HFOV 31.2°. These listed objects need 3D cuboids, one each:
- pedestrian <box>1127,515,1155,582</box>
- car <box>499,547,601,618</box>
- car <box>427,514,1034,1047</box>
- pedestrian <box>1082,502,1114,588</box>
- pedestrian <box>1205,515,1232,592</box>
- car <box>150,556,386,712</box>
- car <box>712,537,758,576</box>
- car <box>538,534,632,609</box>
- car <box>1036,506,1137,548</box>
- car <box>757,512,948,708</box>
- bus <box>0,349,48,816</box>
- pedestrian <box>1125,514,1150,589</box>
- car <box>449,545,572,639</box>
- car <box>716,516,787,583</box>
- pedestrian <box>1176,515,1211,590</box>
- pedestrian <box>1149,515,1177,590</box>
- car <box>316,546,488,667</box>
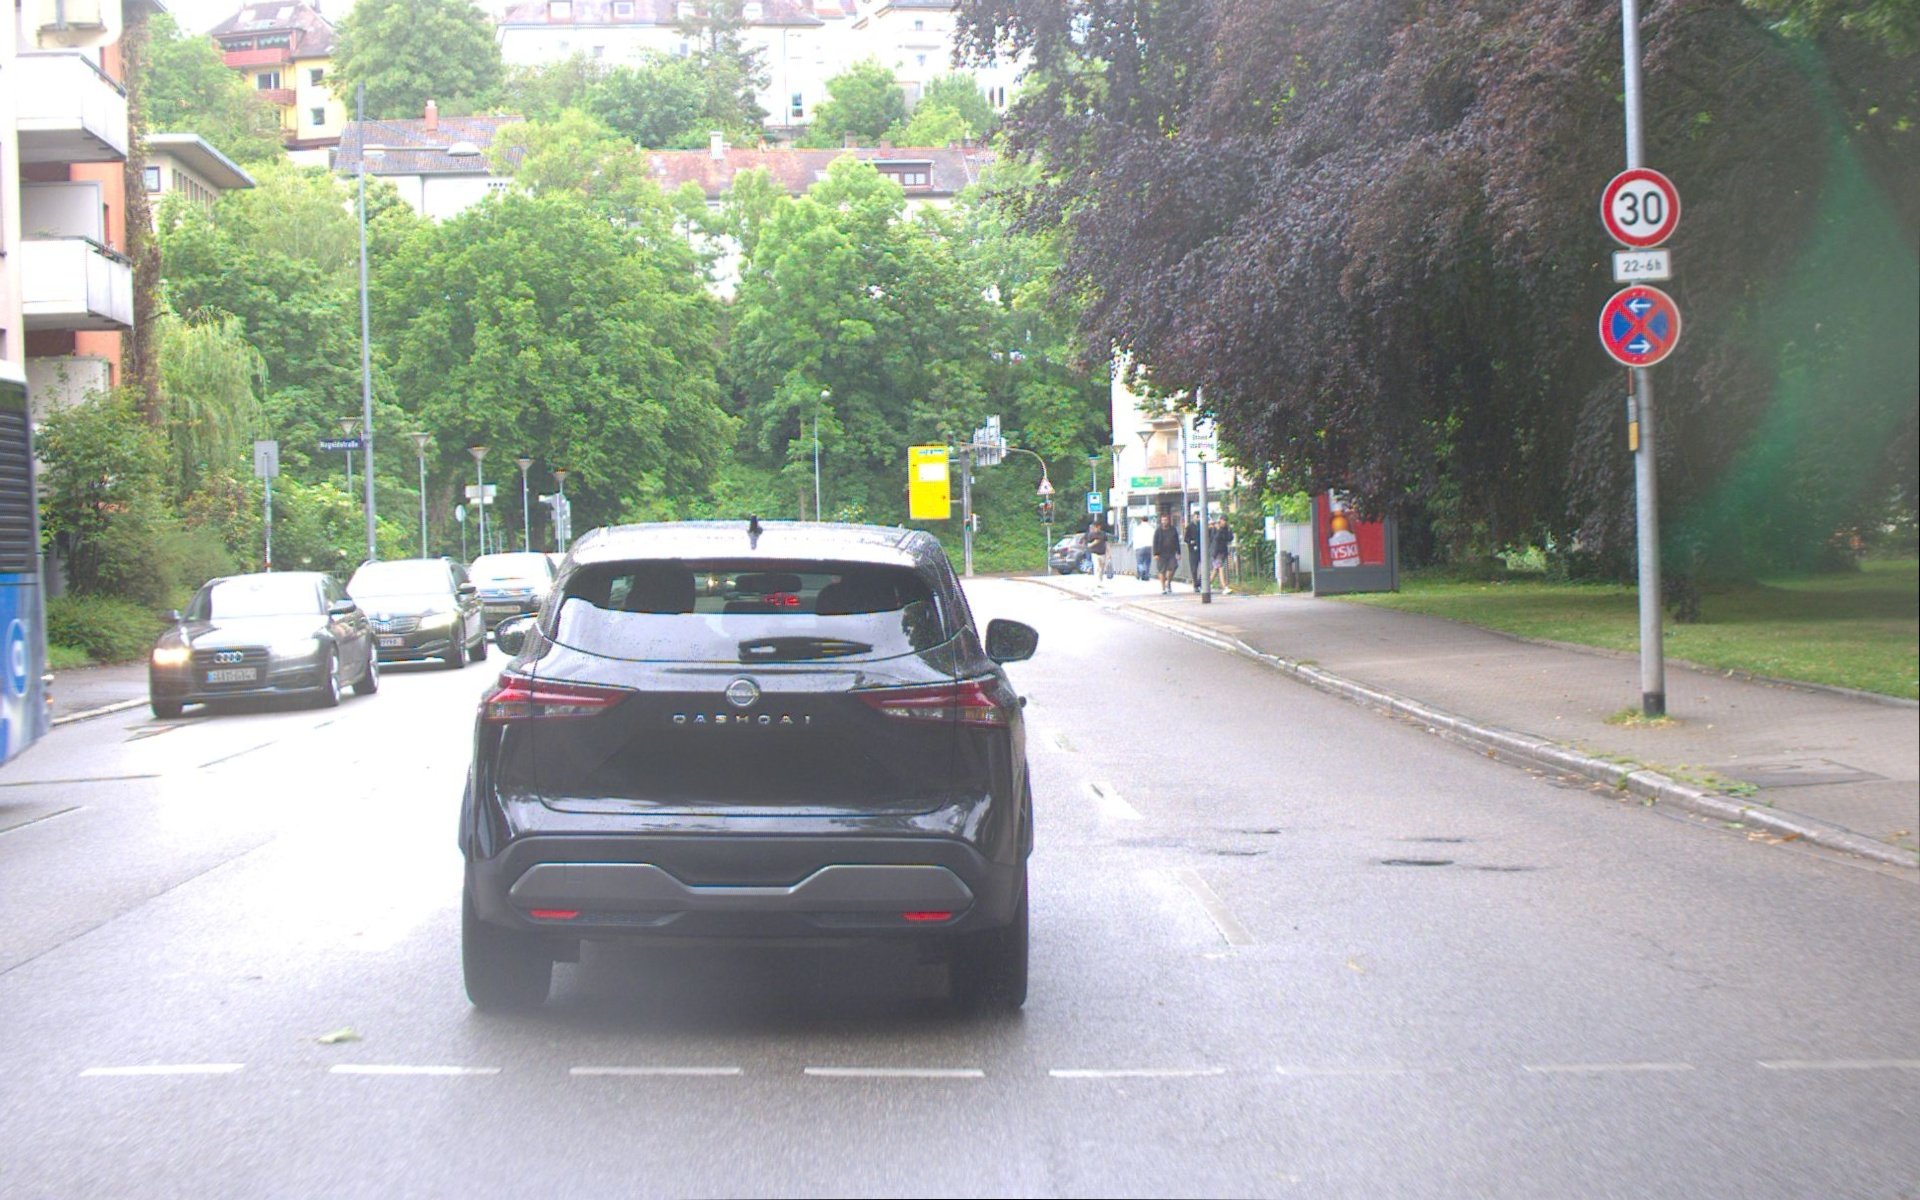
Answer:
[{"bbox_3d":[4.899,-1.386,93.069,0.618,1.773,0.778,-2,1,-1],"label":"pedestrian"},{"bbox_3d":[-8.163,-0.372,68.638,1.676,1.291,3.752,-3,1,-3],"label":"car"},{"bbox_3d":[-0.739,0.535,12.332,1.806,1.584,4.000,1,0,-1],"label":"car"},{"bbox_3d":[3.489,-1.384,86.893,0.768,2.176,0.711,1,0,2],"label":"pedestrian"},{"bbox_3d":[5.579,-1.007,74.321,0.514,1.650,0.550,1,0,-1],"label":"pedestrian"},{"bbox_3d":[-7.318,0.313,36.735,1.775,1.464,4.217,-3,1,-3],"label":"car"},{"bbox_3d":[-8.832,-1.719,135.062,1.718,1.463,3.686,-2,1,-3],"label":"car"},{"bbox_3d":[-8.601,-0.673,79.044,1.750,1.628,3.635,-2,1,-1],"label":"car"},{"bbox_3d":[5.542,-3.202,150.766,3.986,1.678,2.001,-2,1,-11],"label":"car"},{"bbox_3d":[-0.972,0.060,32.780,1.622,1.703,3.771,-2,1,0],"label":"car"},{"bbox_3d":[-7.348,-0.030,16.968,2.766,2.964,11.782,-2,1,-1],"label":"bus"},{"bbox_3d":[3.913,-1.060,75.635,0.475,1.645,0.490,1,0,10],"label":"pedestrian"},{"bbox_3d":[-7.697,-0.174,59.144,1.676,1.464,4.217,-3,1,-3],"label":"car"},{"bbox_3d":[-5.822,-1.423,96.395,1.763,1.752,3.635,-2,1,-1],"label":"car"},{"bbox_3d":[5.154,-1.047,75.926,0.699,1.645,0.628,1,0,10],"label":"pedestrian"},{"bbox_3d":[4.487,-1.054,75.838,0.544,1.645,0.490,1,0,10],"label":"pedestrian"},{"bbox_3d":[-7.497,0.051,46.533,1.747,1.464,4.217,-3,1,-3],"label":"car"}]
